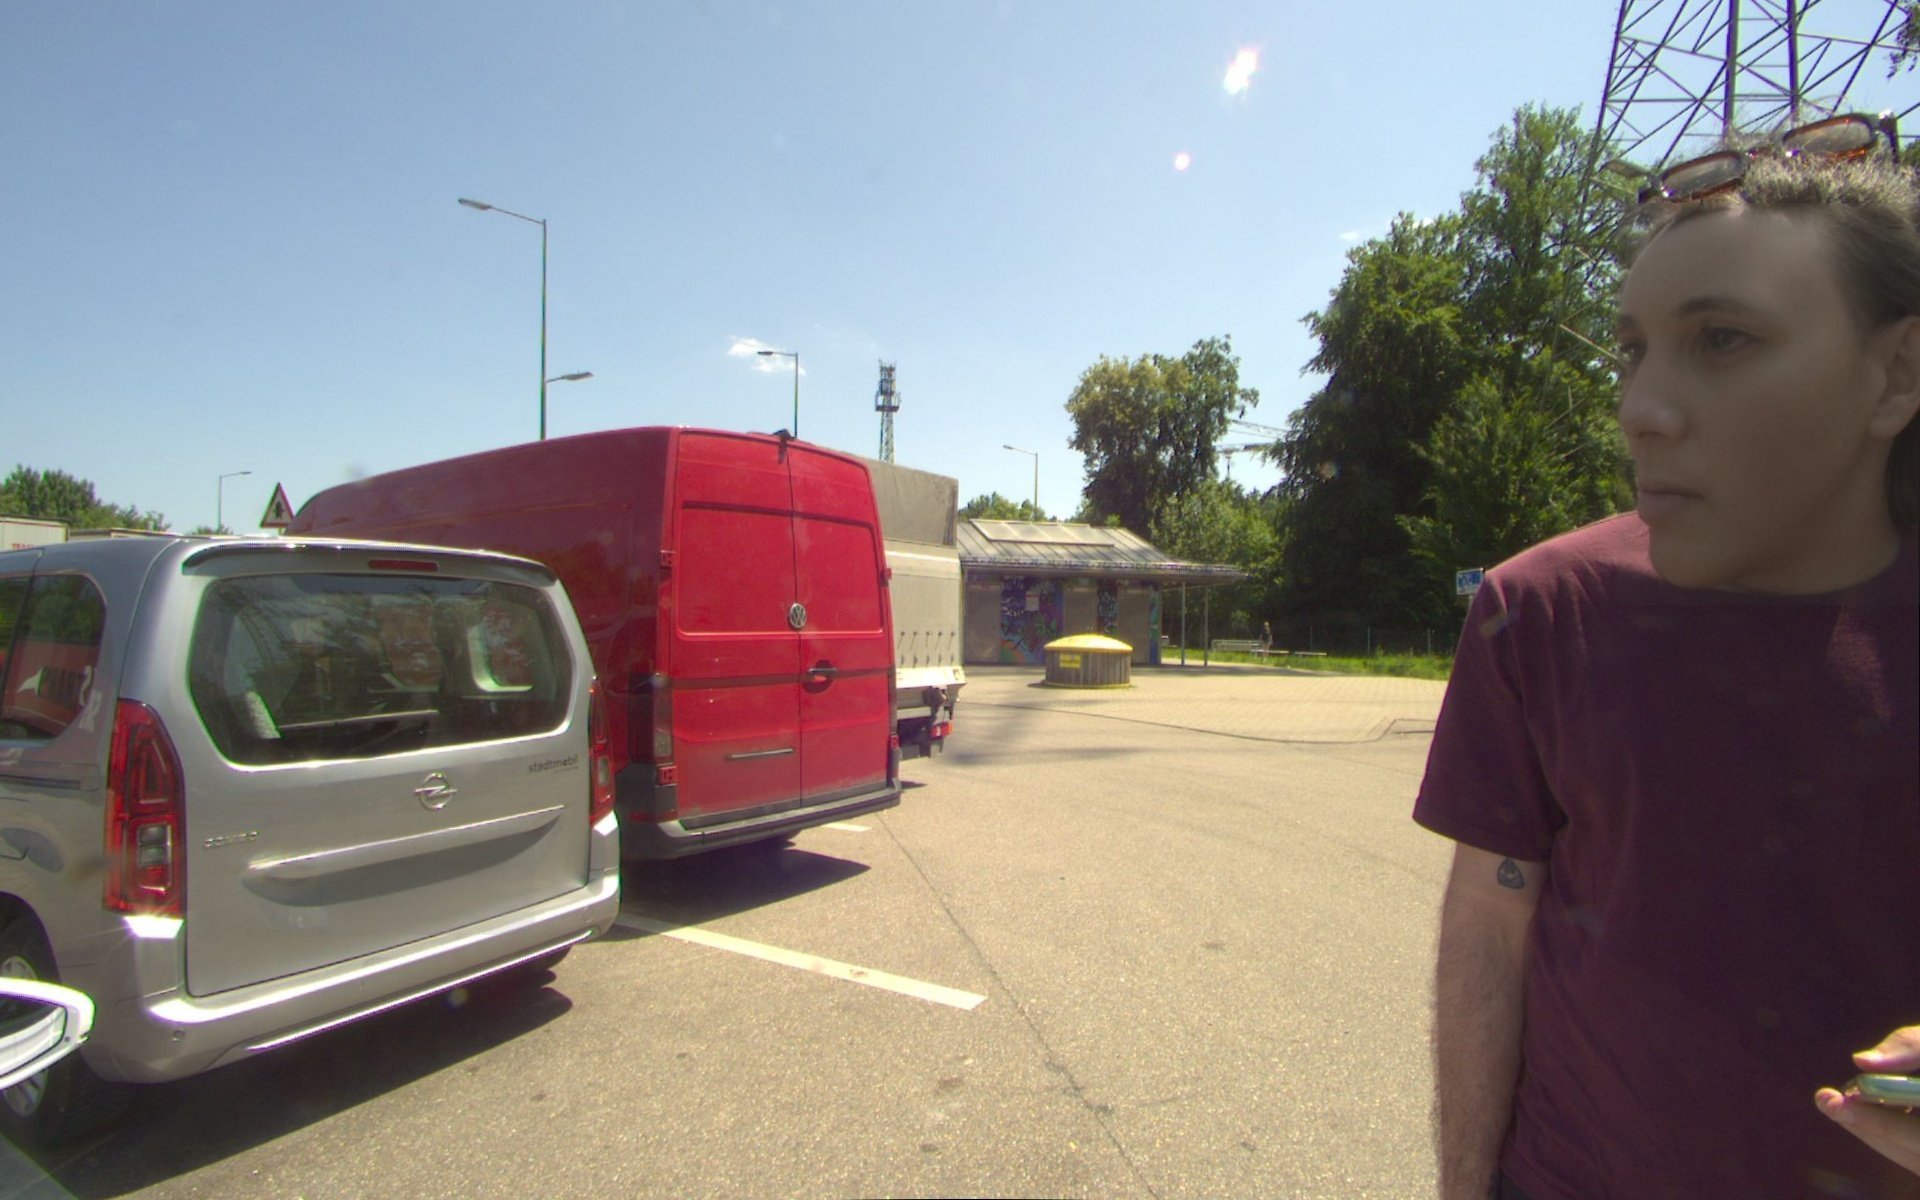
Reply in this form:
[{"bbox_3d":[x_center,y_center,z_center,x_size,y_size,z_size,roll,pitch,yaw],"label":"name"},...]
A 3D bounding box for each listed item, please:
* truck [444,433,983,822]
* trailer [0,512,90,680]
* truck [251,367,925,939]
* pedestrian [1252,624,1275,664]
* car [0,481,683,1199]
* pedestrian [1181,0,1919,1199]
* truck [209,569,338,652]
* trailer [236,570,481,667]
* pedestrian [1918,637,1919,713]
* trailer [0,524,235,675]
[{"bbox_3d":[-2.730,0.307,10.283,5.582,2.949,2.449,-2,-2,37],"label":"truck"},{"bbox_3d":[-29.007,-0.257,28.139,14.184,4.040,2.808,2,-2,33],"label":"trailer"},{"bbox_3d":[-2.881,0.339,7.044,5.238,2.655,1.972,-2,-2,38],"label":"truck"},{"bbox_3d":[12.973,1.876,42.772,0.727,1.658,0.788,-1,-1,34],"label":"pedestrian"},{"bbox_3d":[-3.374,0.689,4.244,4.113,1.887,1.868,1,-2,31],"label":"car"},{"bbox_3d":[0.779,0.573,0.822,0.852,1.857,0.857,-1,-2,43],"label":"pedestrian"},{"bbox_3d":[-32.083,0.470,46.758,5.813,3.566,2.799,2,-2,33],"label":"truck"},{"bbox_3d":[-26.089,0.649,42.900,14.184,3.552,2.808,2,-2,33],"label":"trailer"},{"bbox_3d":[17.266,1.326,17.471,0.690,1.352,0.561,-1,-1,33],"label":"pedestrian"},{"bbox_3d":[-27.943,-0.099,31.785,14.184,4.040,2.808,2,-2,33],"label":"trailer"}]
